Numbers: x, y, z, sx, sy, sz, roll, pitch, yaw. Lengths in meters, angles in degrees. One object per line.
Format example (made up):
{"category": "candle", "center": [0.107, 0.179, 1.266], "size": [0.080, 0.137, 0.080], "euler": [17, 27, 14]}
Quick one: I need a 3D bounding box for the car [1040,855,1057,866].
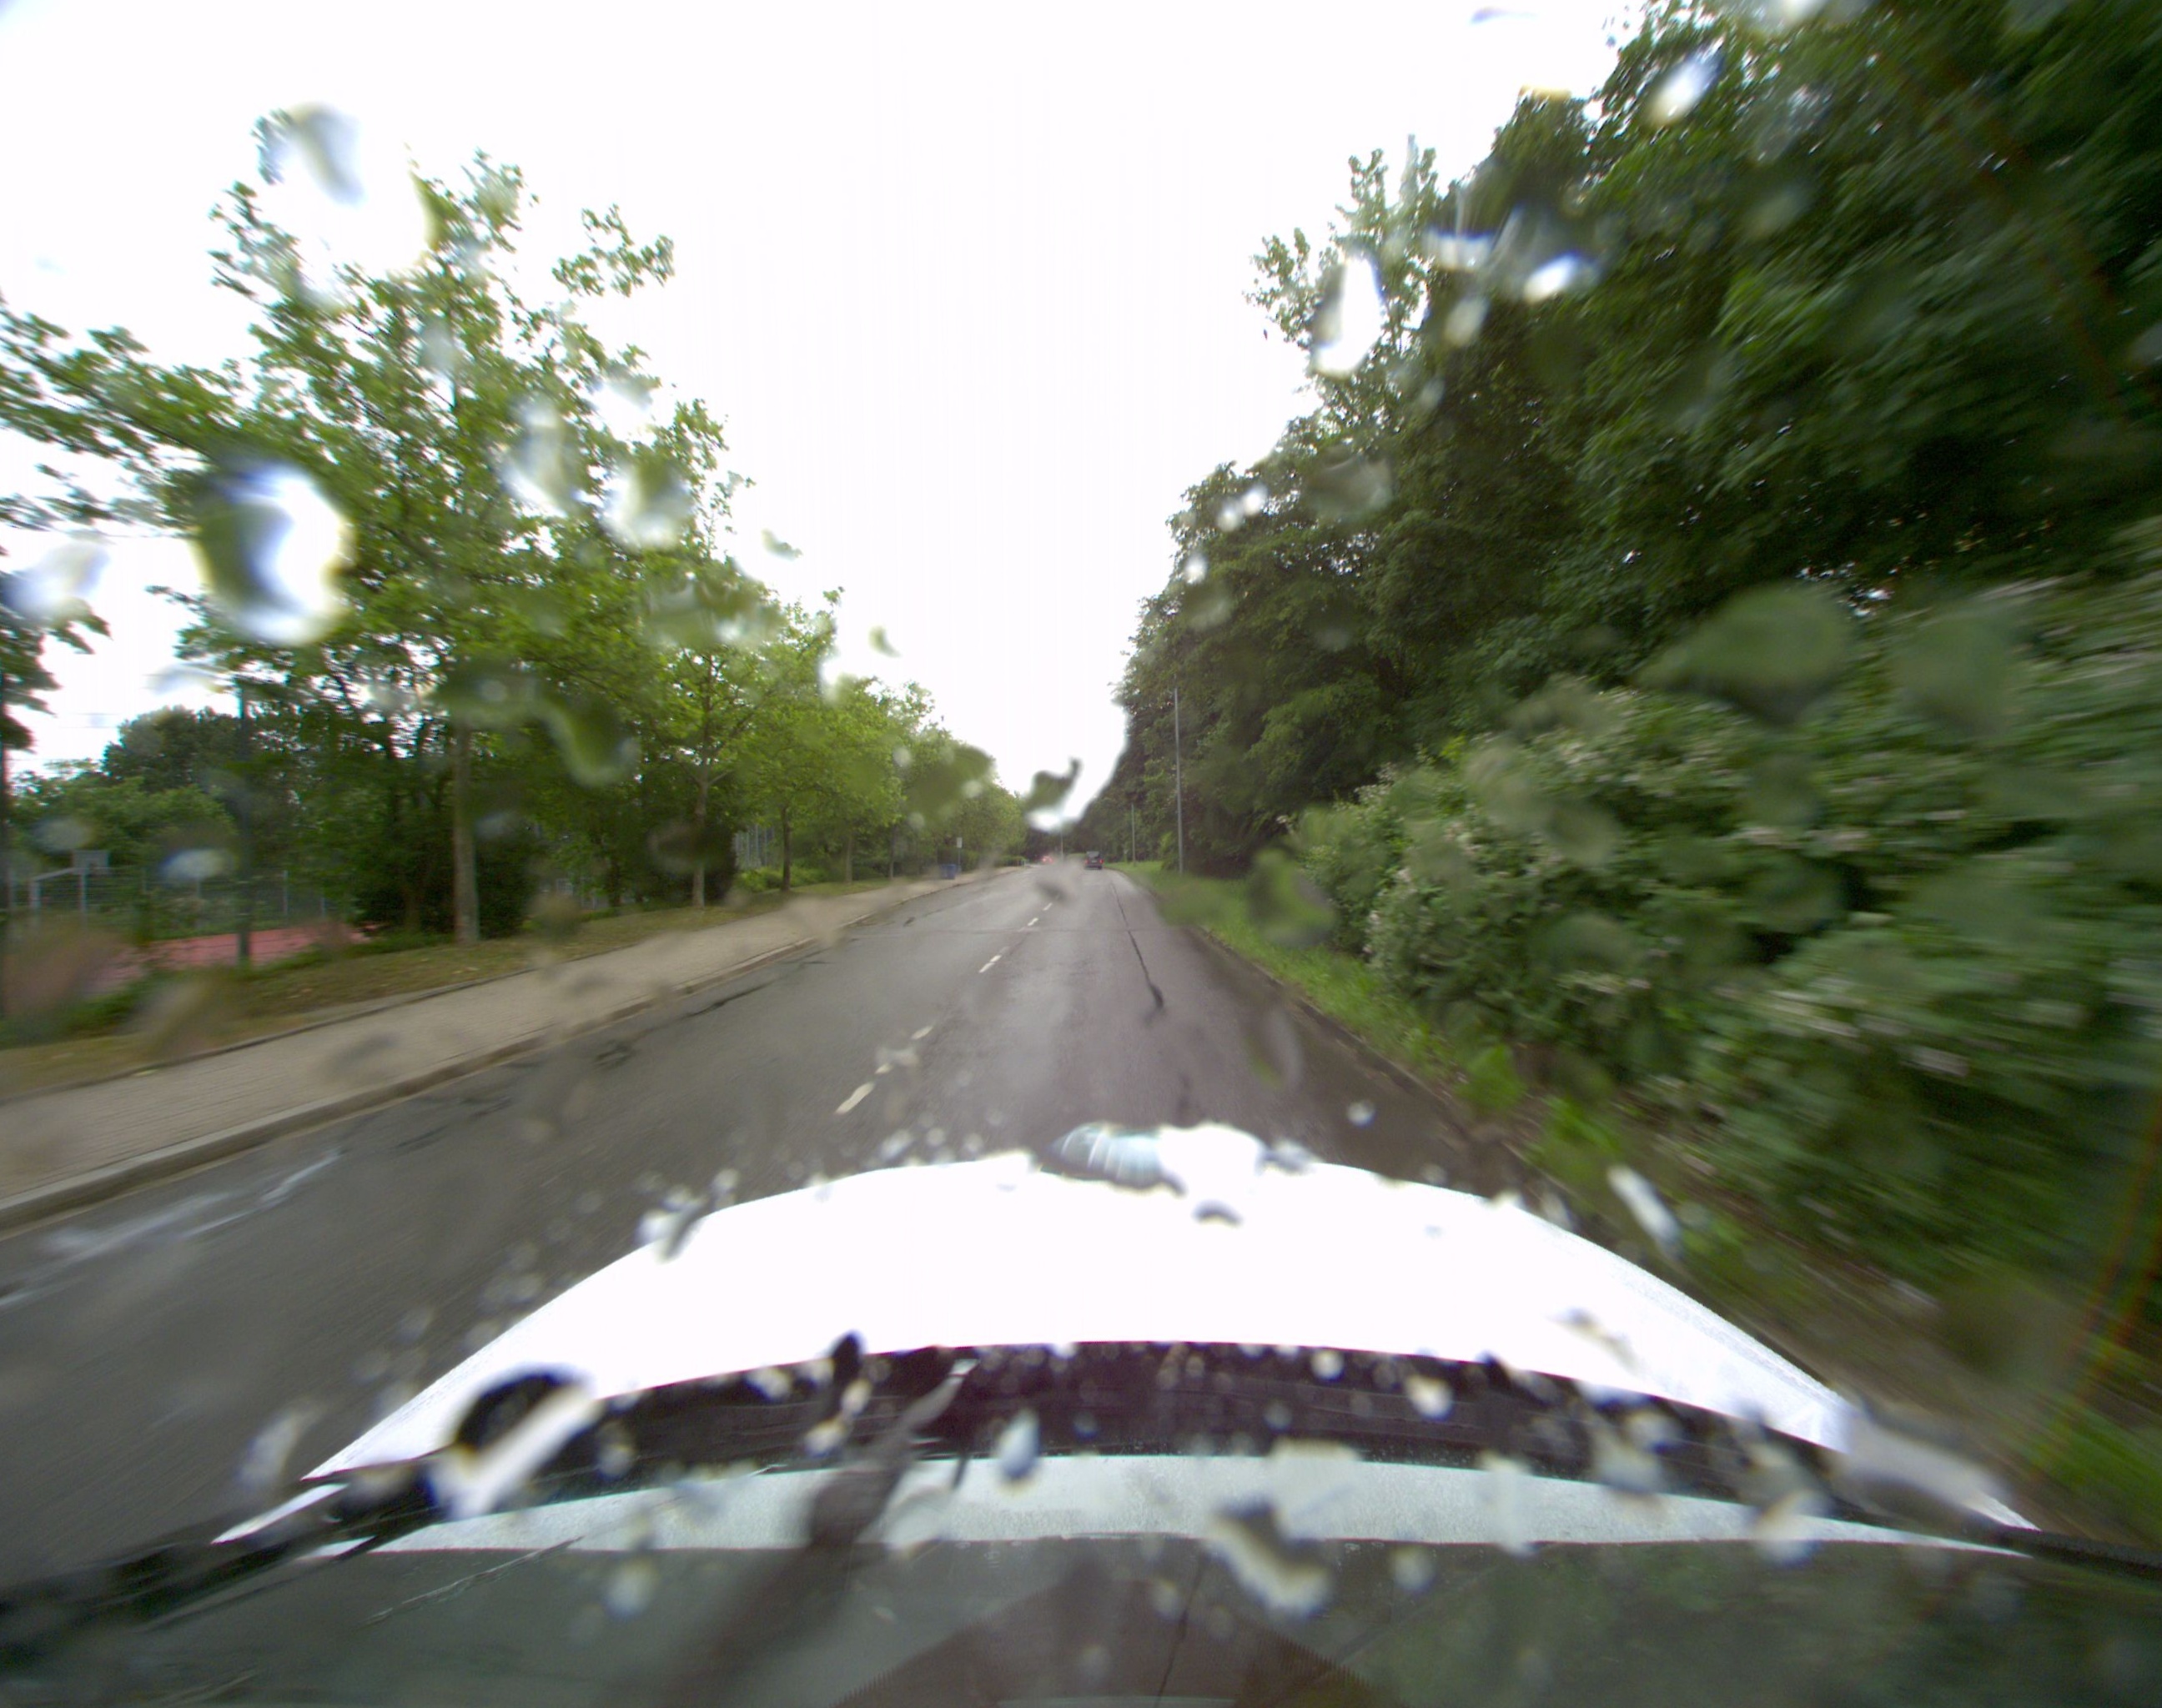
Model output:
{"category": "car", "center": [-5.391, 1.064, 136.044], "size": [1.996, 1.772, 3.981], "euler": [-2, 0, -14]}

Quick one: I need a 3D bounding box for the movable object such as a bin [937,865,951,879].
{"category": "movable object such as a bin", "center": [-9.962, 1.315, 59.150], "size": [0.670, 1.026, 0.827], "euler": [-4, 0, -30]}

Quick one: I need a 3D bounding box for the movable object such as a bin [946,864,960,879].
{"category": "movable object such as a bin", "center": [-9.334, 1.283, 59.498], "size": [0.670, 1.026, 0.827], "euler": [-4, 0, -30]}

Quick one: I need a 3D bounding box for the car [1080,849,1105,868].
{"category": "car", "center": [1.149, 0.472, 84.862], "size": [1.992, 1.793, 3.990], "euler": [1, 1, -7]}
